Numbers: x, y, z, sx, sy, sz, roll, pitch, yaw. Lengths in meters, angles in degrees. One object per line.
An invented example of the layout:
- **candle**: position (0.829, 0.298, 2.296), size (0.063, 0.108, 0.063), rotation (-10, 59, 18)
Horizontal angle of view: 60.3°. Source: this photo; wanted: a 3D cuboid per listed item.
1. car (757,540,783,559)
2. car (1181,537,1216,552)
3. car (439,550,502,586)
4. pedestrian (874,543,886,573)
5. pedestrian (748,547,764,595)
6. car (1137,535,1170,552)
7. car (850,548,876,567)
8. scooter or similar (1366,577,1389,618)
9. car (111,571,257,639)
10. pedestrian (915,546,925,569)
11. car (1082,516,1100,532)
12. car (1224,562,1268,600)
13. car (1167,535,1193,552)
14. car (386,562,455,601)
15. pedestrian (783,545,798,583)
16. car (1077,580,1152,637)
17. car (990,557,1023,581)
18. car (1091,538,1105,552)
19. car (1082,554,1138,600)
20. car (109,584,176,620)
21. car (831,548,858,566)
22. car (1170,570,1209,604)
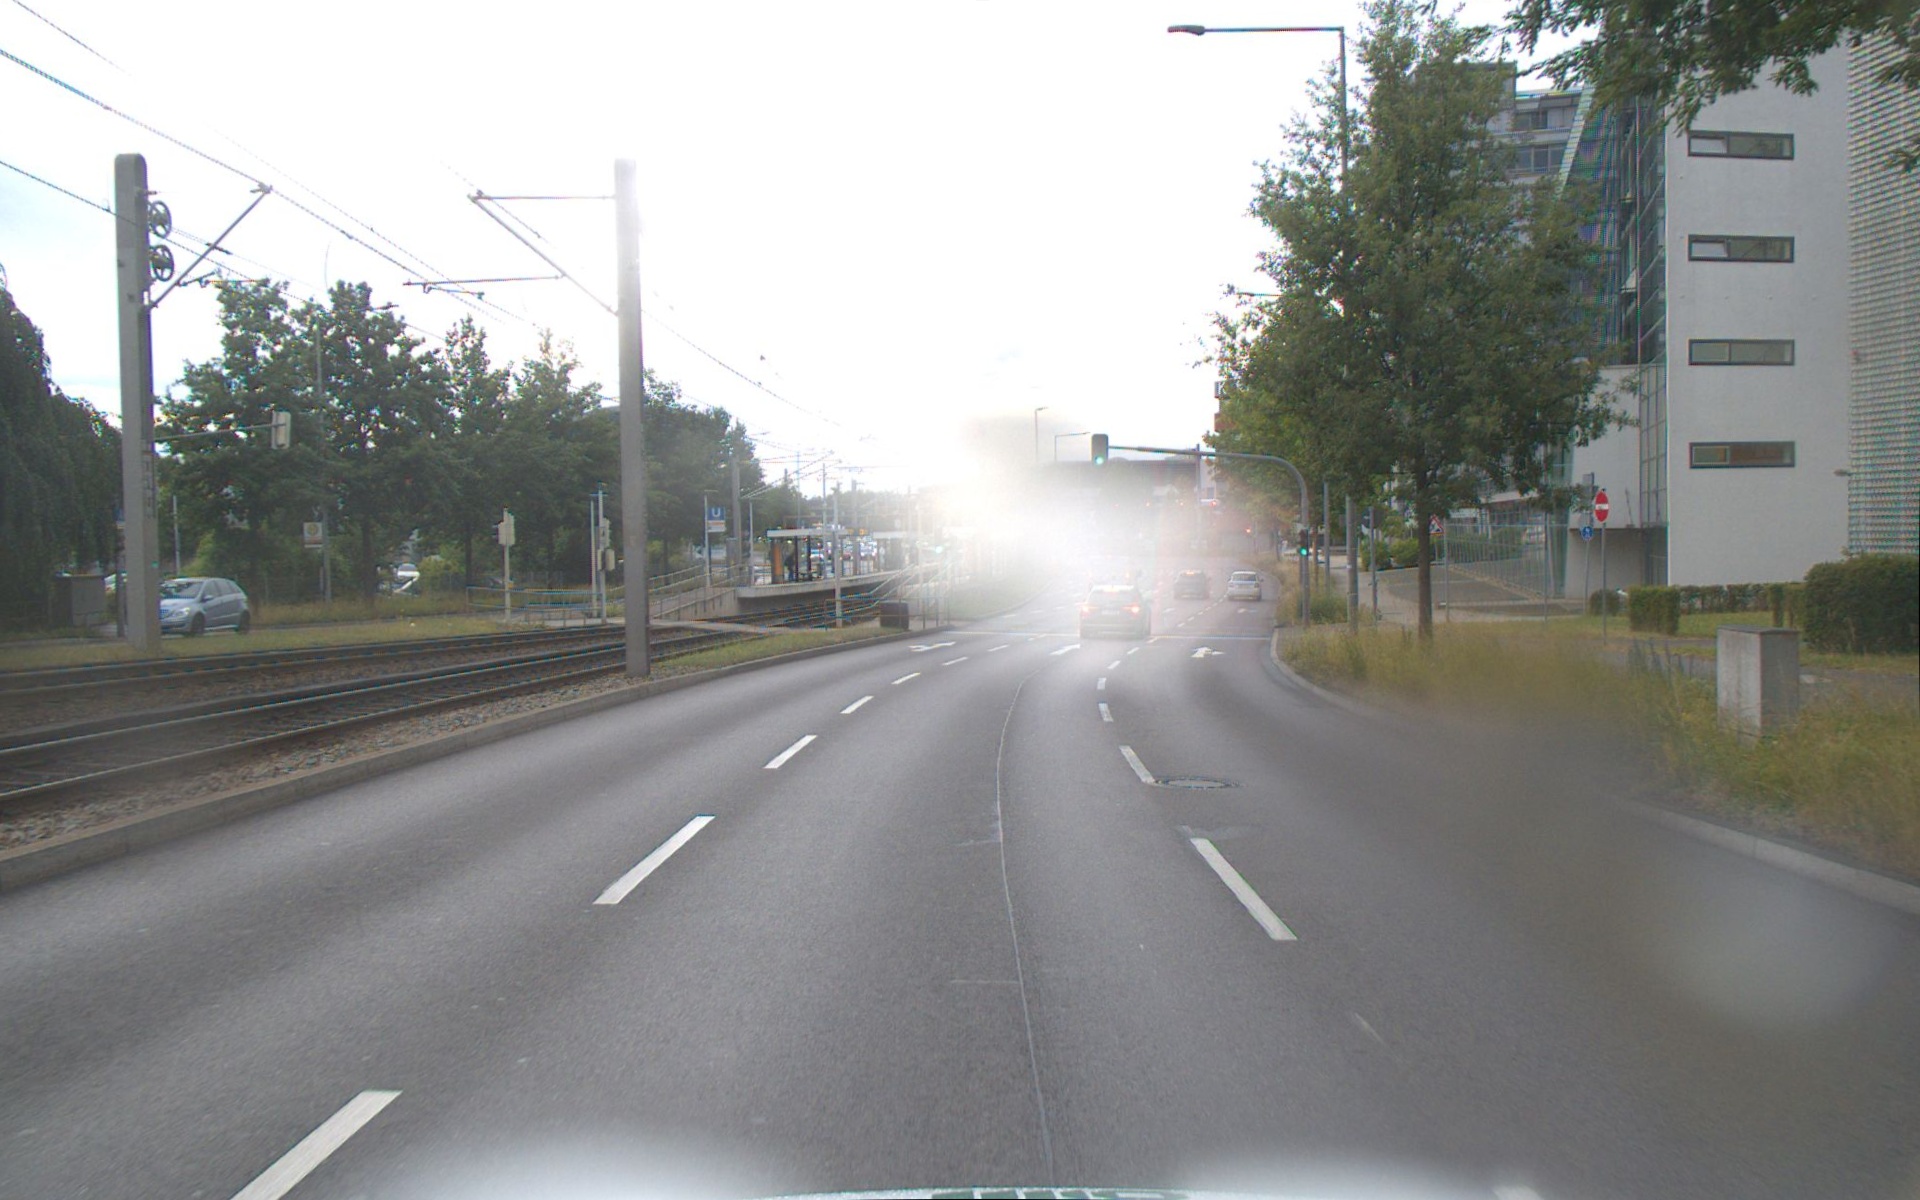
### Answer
- **car**: position (-22.693, -6.052, 197.527), size (1.968, 2.049, 3.969), rotation (1, -1, -24)
- **car**: position (28.053, -6.526, 194.666), size (2.003, 1.651, 3.954), rotation (-1, 2, -34)
- **car**: position (-28.322, -1.835, 95.837), size (1.951, 2.049, 4.003), rotation (0, 0, 9)
- **pedestrian**: position (-5.696, -2.974, 117.881), size (0.674, 2.116, 0.715), rotation (0, 2, 11)
- **pedestrian**: position (-8.460, -1.201, 68.564), size (0.537, 1.987, 0.664), rotation (0, -1, 3)
- **car**: position (23.808, -6.933, 203.794), size (1.976, 2.048, 3.954), rotation (1, 1, -34)
- **car**: position (-11.900, -5.188, 202.984), size (1.968, 2.049, 3.969), rotation (1, -1, -24)
- **scooter or similar**: position (13.579, -0.080, 53.810), size (0.448, 1.285, 1.338), rotation (-3, 0, 3)
- **car**: position (-20.714, 0.107, 44.340), size (1.952, 1.709, 4.001), rotation (0, 1, 2)
- **pedestrian**: position (-3.195, -3.398, 132.407), size (0.736, 1.782, 0.764), rotation (0, -1, 7)
- **car**: position (18.449, -10.669, 233.025), size (1.954, 2.049, 3.996), rotation (0, -1, -4)
- **car**: position (14.751, -1.016, 85.491), size (1.978, 1.800, 4.004), rotation (0, 2, 7)
- **car**: position (30.013, -7.710, 225.601), size (1.963, 2.049, 3.979), rotation (1, -1, -18)
- **car**: position (-29.526, -0.971, 90.623), size (1.951, 2.049, 4.003), rotation (0, -1, 9)
- **pedestrian**: position (-8.574, -1.801, 83.747), size (0.623, 1.887, 0.751), rotation (0, -1, 6)
- **car**: position (4.376, 0.204, 46.375), size (1.726, 1.489, 4.631), rotation (0, 1, 10)
- **car**: position (3.292, -2.177, 116.153), size (1.951, 1.477, 3.852), rotation (0, 5, 6)
- **car**: position (20.766, -8.273, 248.951), size (1.780, 2.049, 3.471), rotation (0, -1, 1)
- **car**: position (7.414, -1.166, 81.230), size (2.458, 2.215, 5.154), rotation (0, 2, 8)
- **car**: position (-33.746, 0.103, 68.230), size (1.976, 1.440, 3.952), rotation (1, -1, -34)
- **car**: position (-14.026, -5.227, 200.701), size (1.968, 2.049, 3.969), rotation (1, -1, -24)
- **car**: position (12.030, -0.679, 86.860), size (1.978, 1.651, 4.003), rotation (0, -1, 7)
